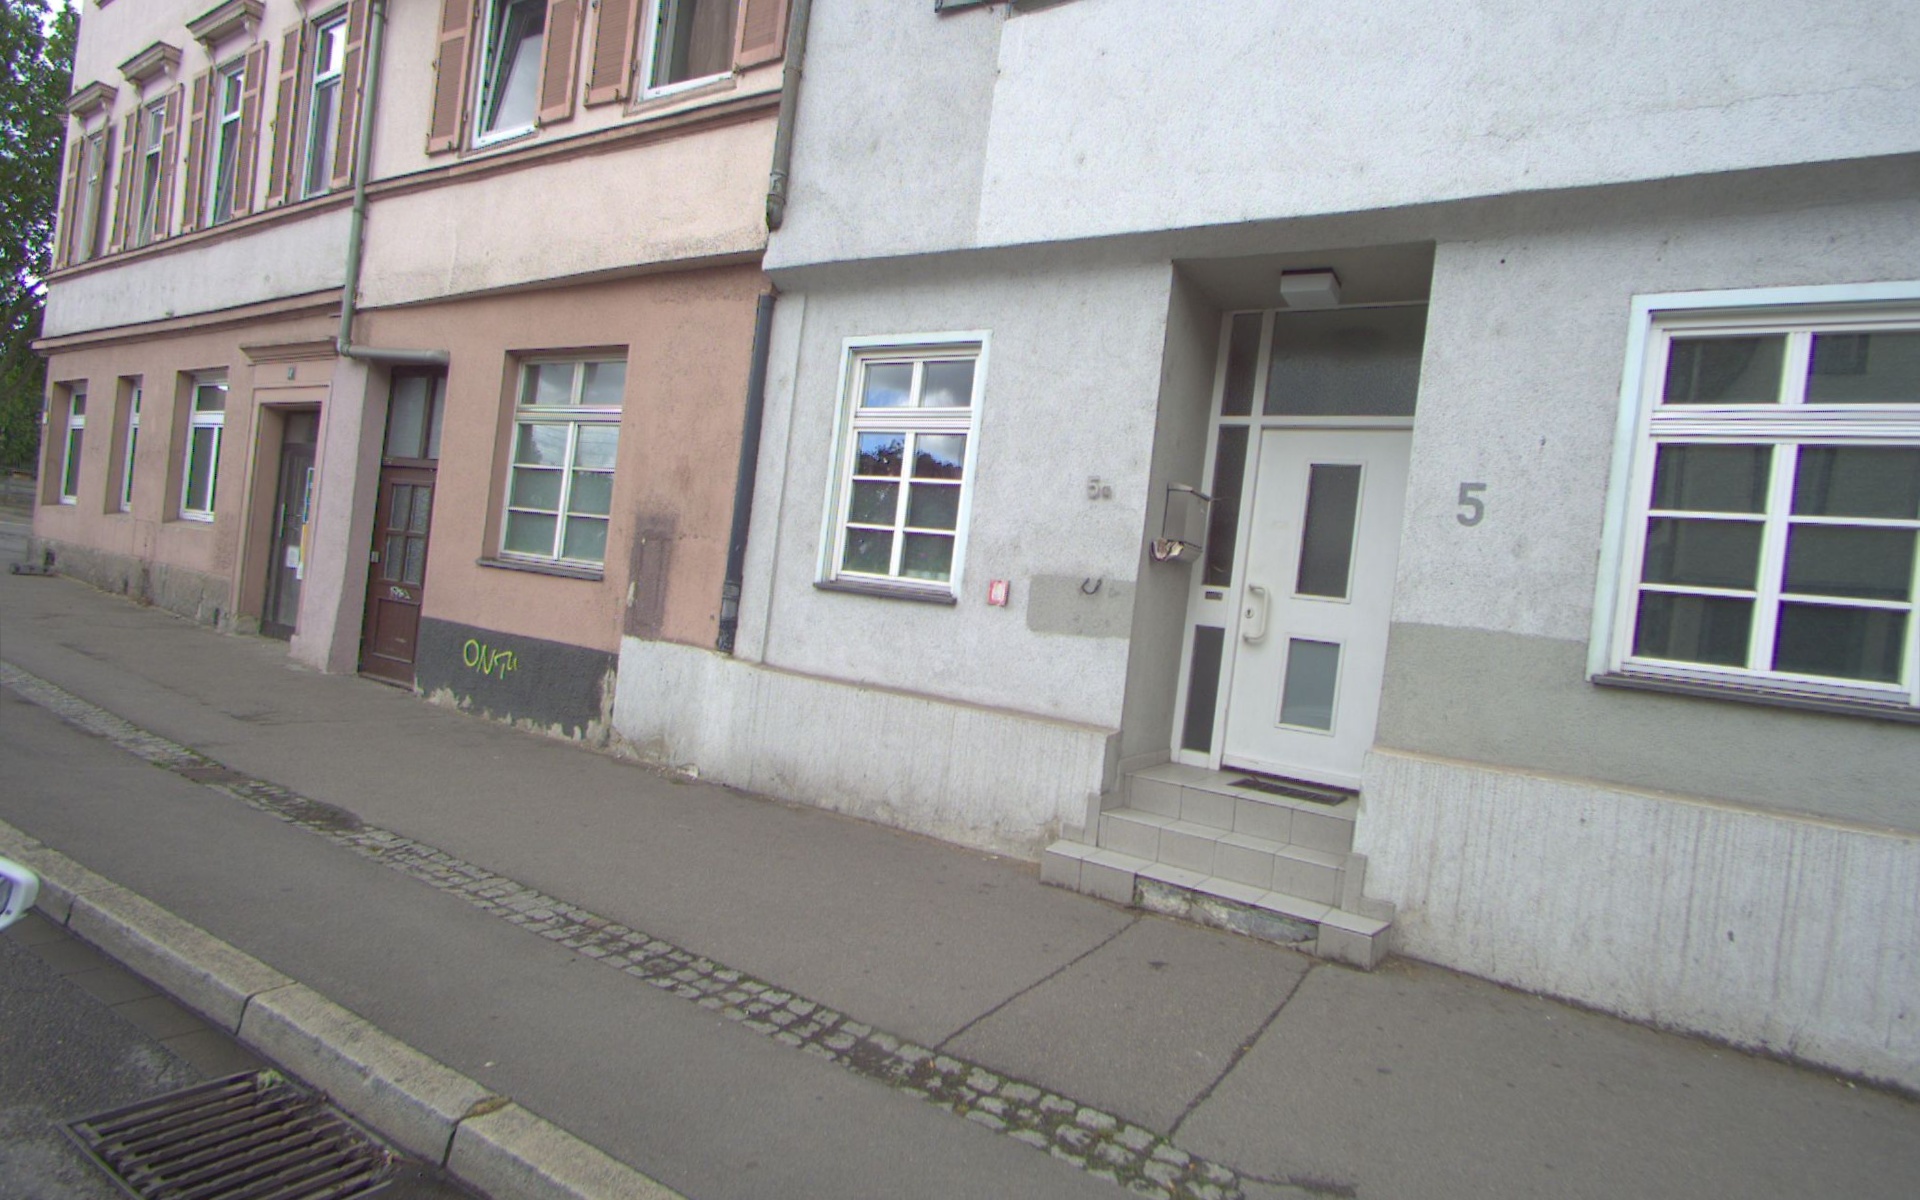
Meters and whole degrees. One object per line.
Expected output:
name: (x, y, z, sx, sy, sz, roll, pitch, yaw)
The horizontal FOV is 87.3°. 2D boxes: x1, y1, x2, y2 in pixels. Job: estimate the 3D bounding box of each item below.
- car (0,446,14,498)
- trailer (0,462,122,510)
car: (-33.589, -4.463, 32.080, 1.964, 1.655, 4.530, 7, 0, 23)
trailer: (-32.121, -4.039, 35.572, 1.964, 1.172, 3.209, 7, 0, 24)
